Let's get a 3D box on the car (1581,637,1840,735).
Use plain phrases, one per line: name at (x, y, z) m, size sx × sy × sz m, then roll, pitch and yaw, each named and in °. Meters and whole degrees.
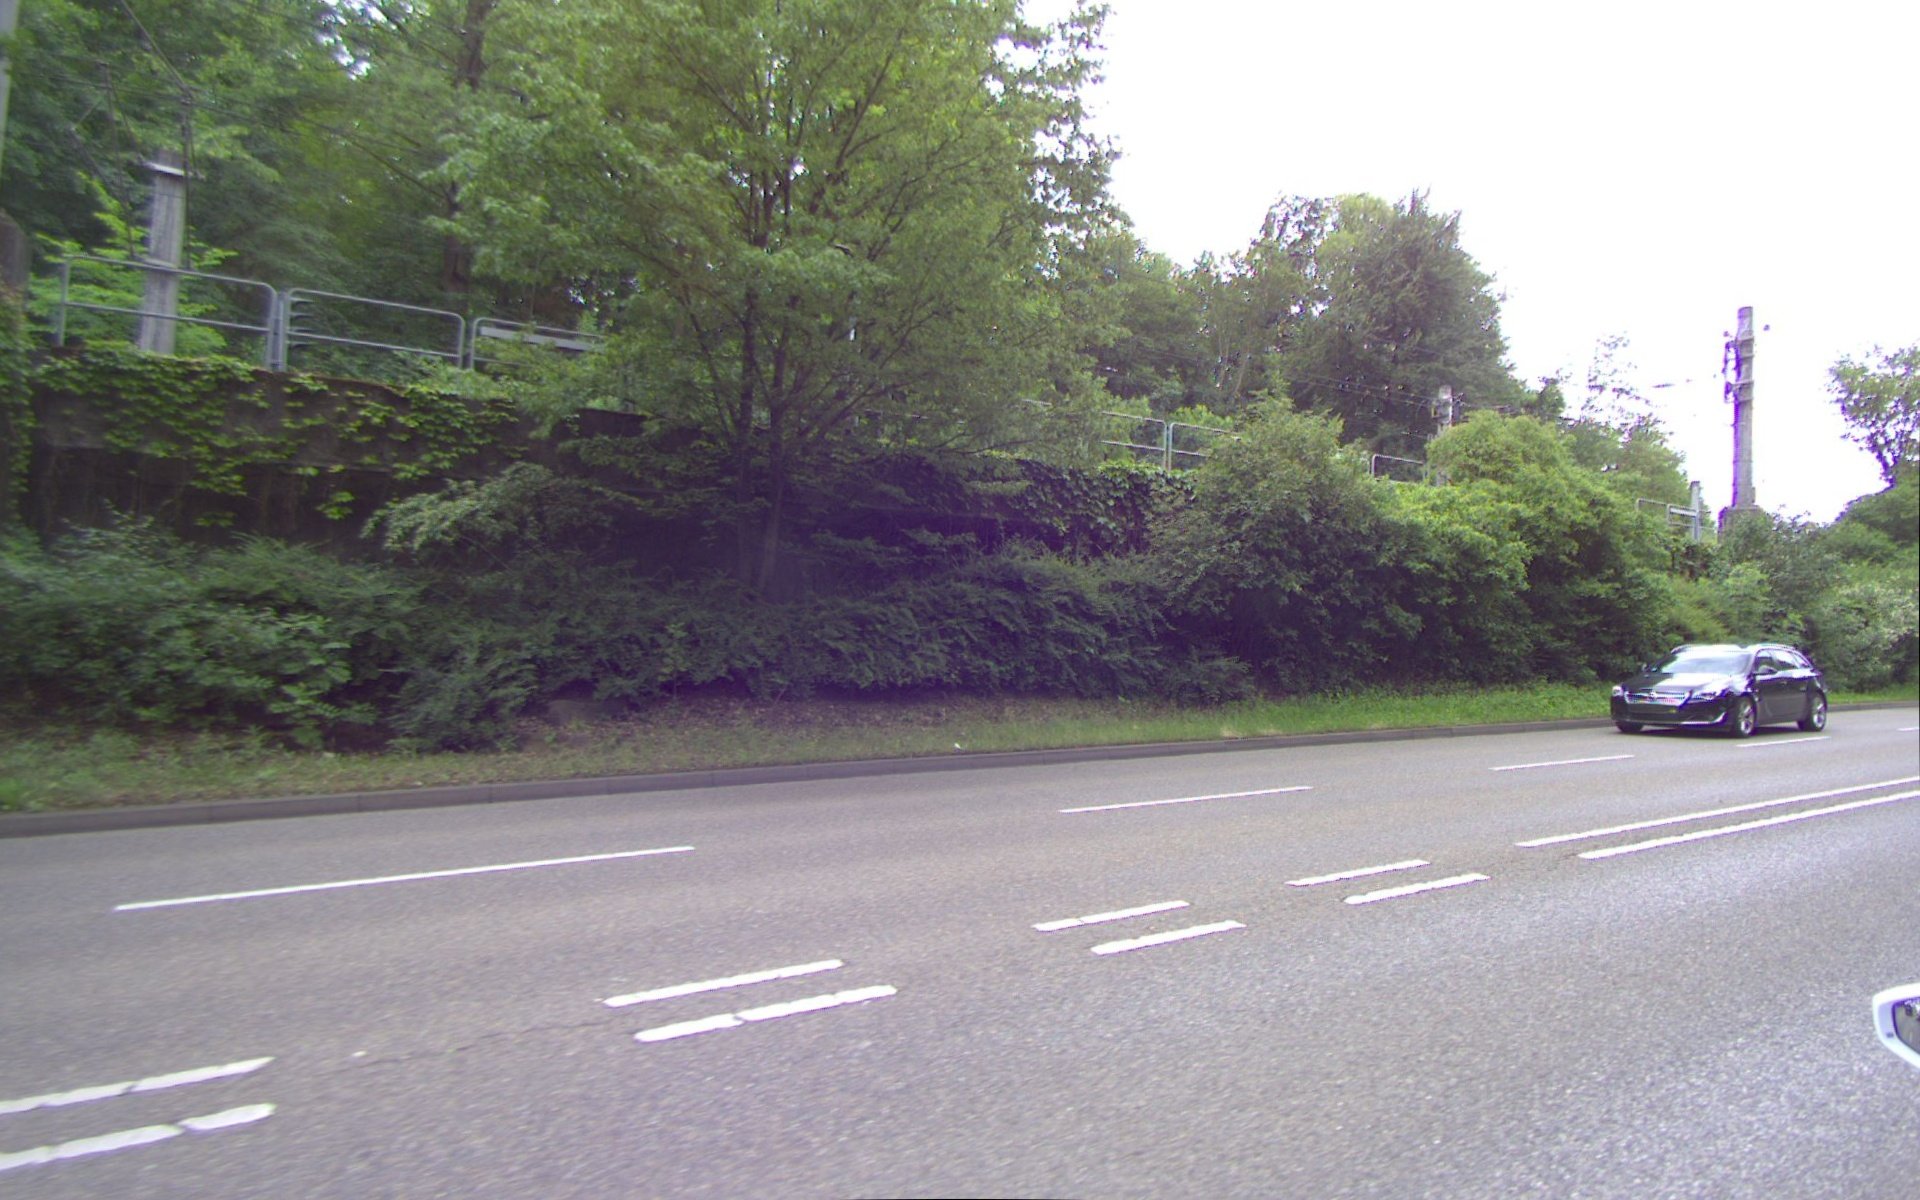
car at (12.831, 1.413, 17.133) m, size 4.476 × 1.487 × 1.905 m, roll 2°, pitch -4°, yaw -30°
